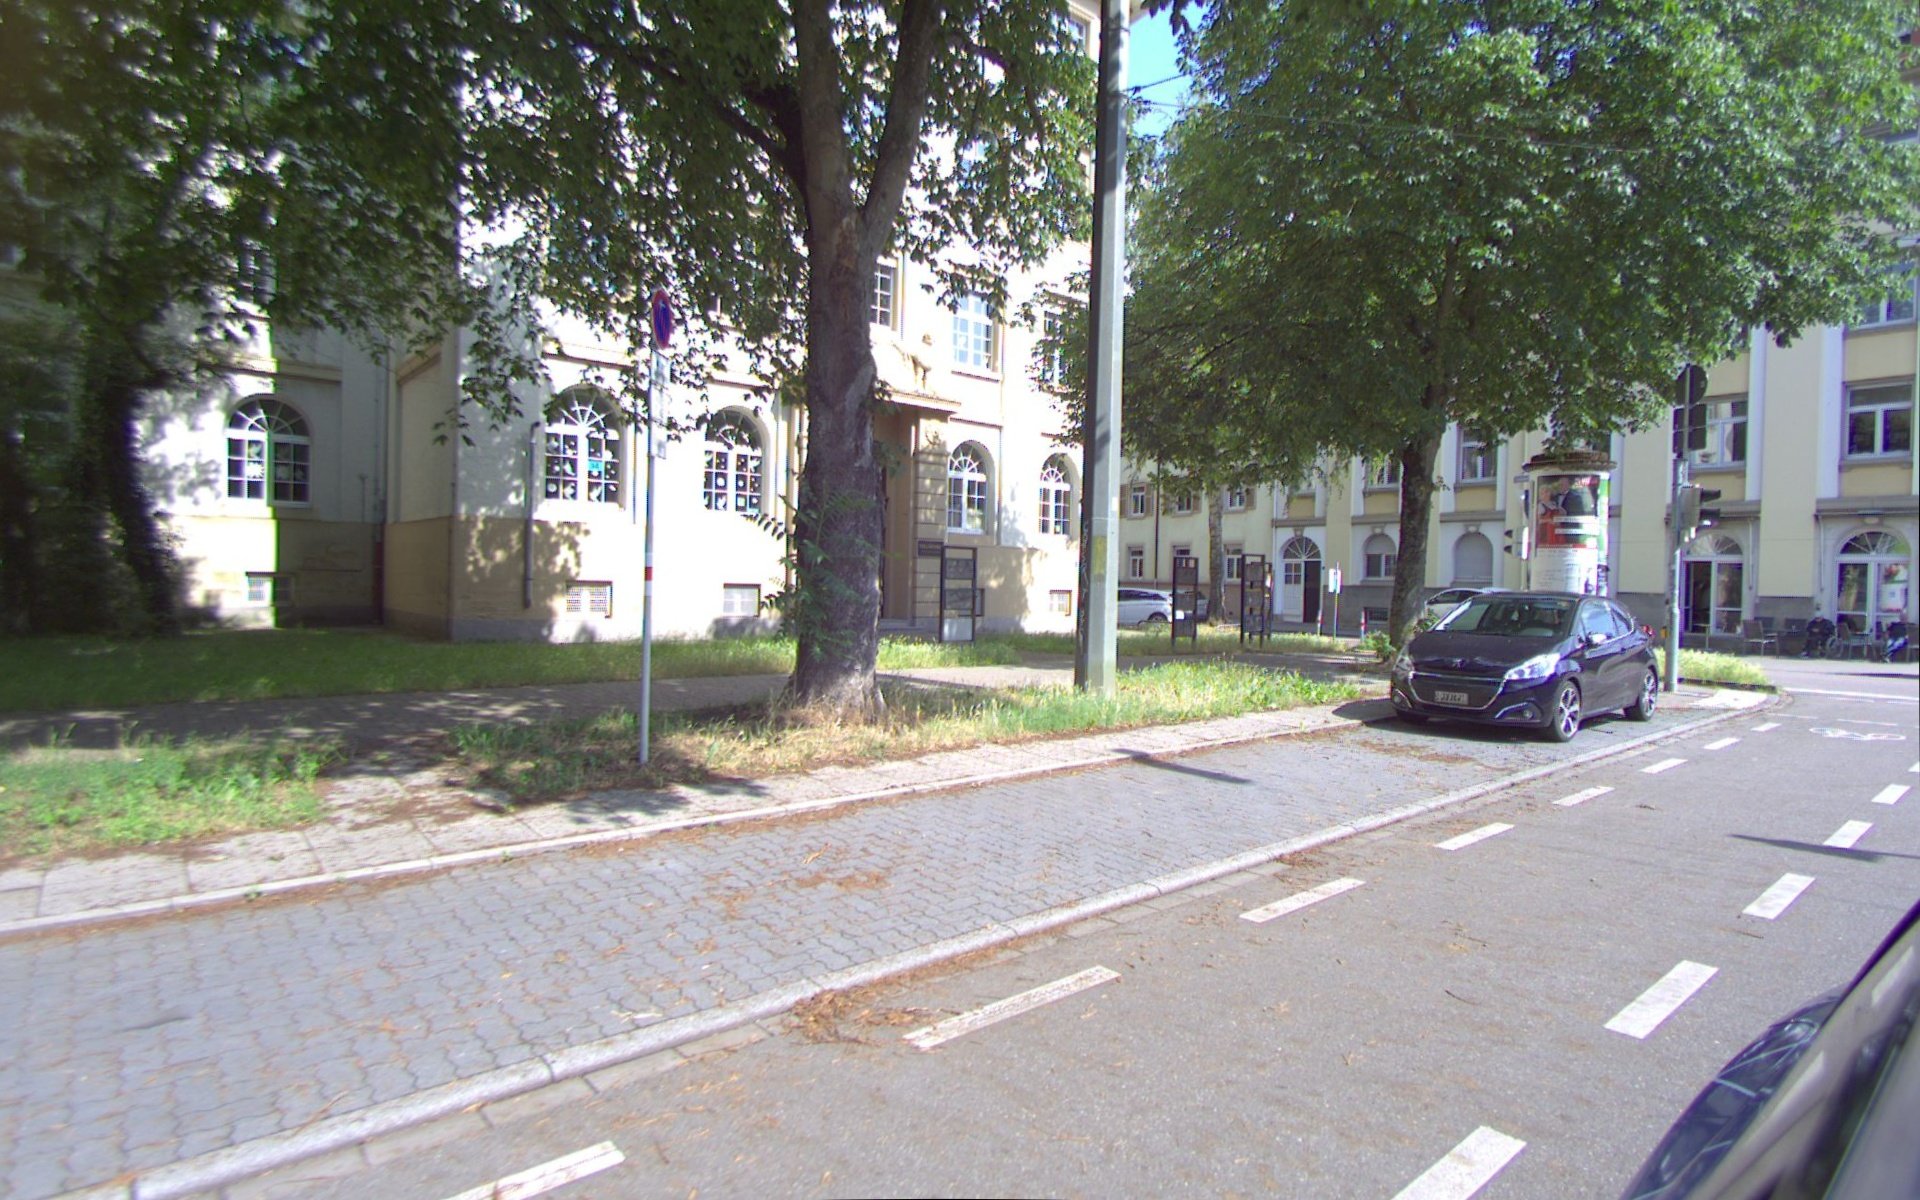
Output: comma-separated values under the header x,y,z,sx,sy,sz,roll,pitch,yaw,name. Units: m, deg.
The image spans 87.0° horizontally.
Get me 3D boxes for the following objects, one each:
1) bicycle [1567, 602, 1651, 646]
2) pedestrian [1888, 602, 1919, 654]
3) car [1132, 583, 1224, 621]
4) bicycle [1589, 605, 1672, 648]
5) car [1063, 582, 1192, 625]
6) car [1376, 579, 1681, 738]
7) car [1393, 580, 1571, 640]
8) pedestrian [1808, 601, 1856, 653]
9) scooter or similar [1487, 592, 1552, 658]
x,y,z,sx,sy,sz,roll,pitch,yaw,name
18.871,0.675,29.457,0.606,1.154,1.942,-1,3,-42,bicycle
24.409,0.716,25.926,0.876,1.260,0.804,-2,3,-38,pedestrian
9.596,0.053,44.826,1.820,1.442,4.006,-3,3,-28,car
18.867,0.731,28.531,0.603,1.058,1.950,0,3,-19,bicycle
5.795,0.116,35.319,4.096,1.369,1.859,1,1,-5,car
6.388,0.507,11.218,3.855,1.404,1.689,-1,3,-40,car
16.554,0.250,32.375,1.820,1.676,4.842,-1,2,-30,car
23.098,0.694,26.813,0.745,1.304,0.804,-2,3,-38,pedestrian
11.212,0.488,20.298,0.437,1.257,1.110,1,1,-18,scooter or similar
